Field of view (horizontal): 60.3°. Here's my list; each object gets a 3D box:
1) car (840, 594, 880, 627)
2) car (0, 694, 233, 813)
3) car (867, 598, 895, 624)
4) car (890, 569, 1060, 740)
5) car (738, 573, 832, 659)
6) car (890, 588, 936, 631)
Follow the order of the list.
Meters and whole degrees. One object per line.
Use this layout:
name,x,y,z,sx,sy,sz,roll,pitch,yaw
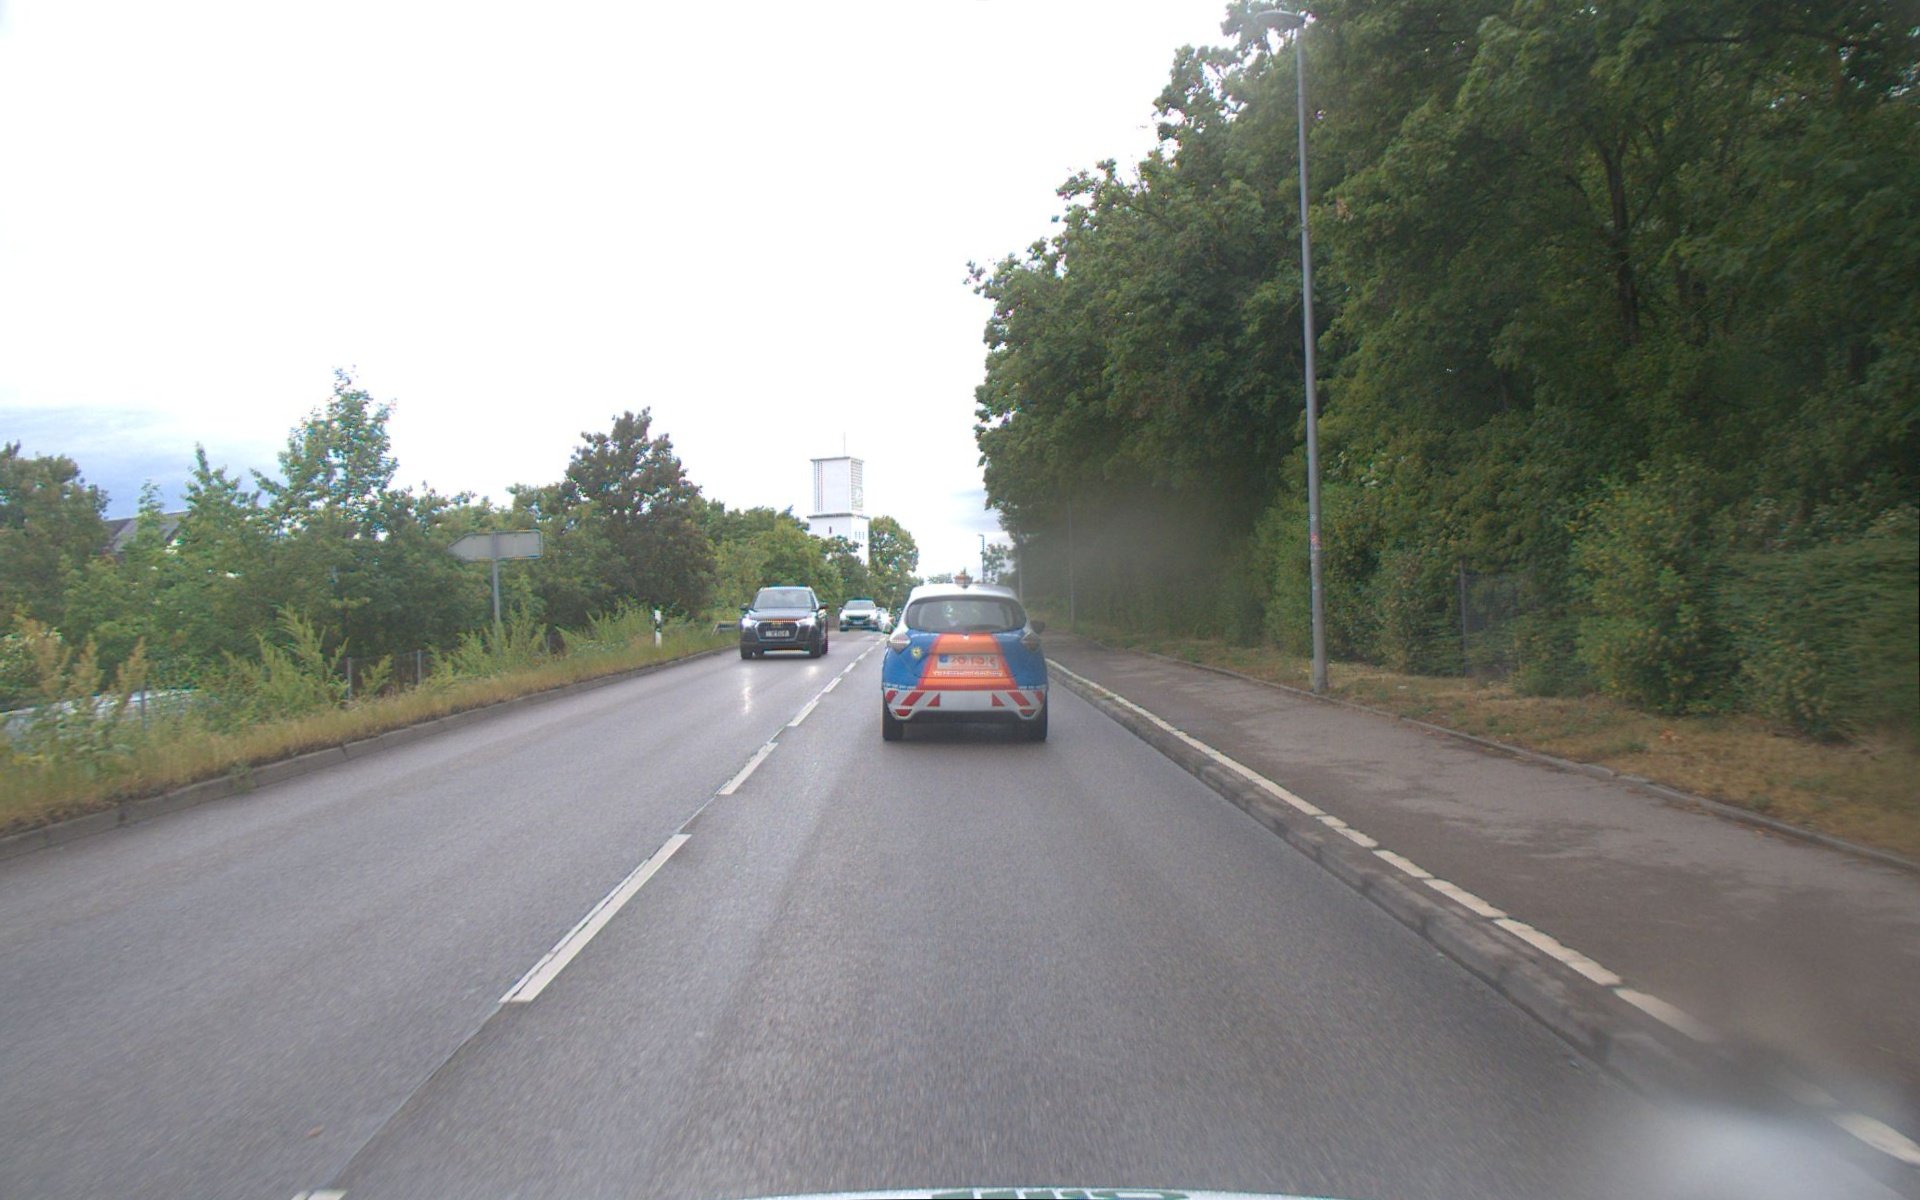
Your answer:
car,-4.892,0.495,81.498,1.824,1.530,4.727,-1,0,-2
car,-14.310,2.535,27.899,1.617,1.550,4.071,-3,0,12
car,-5.145,0.709,107.832,1.695,1.613,4.079,-1,0,-2
car,0.107,0.550,17.728,1.624,1.621,3.567,-1,-1,-1
car,-4.123,0.328,39.490,1.831,1.612,4.415,3,4,-2
car,-1.906,0.383,67.000,1.766,1.618,3.561,-2,0,-2
